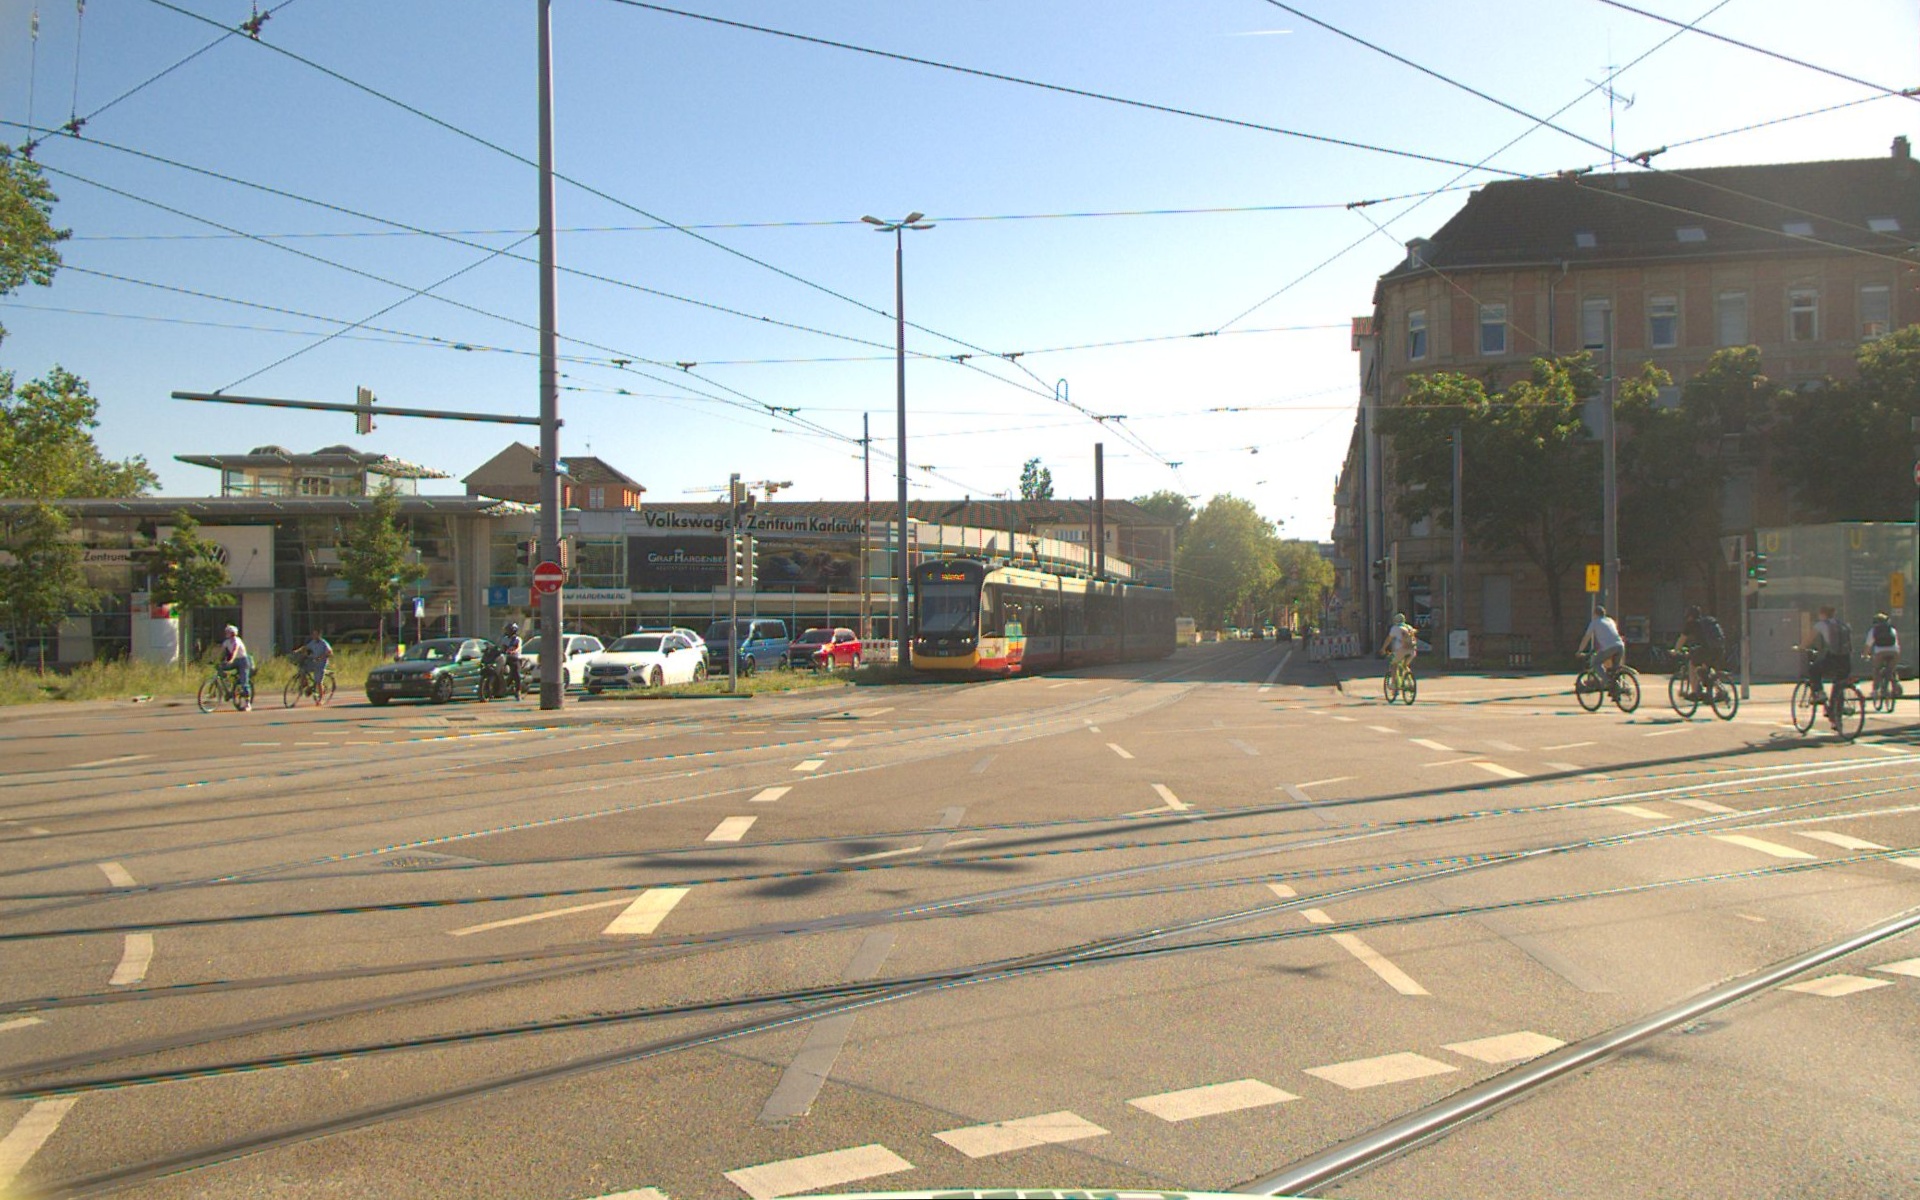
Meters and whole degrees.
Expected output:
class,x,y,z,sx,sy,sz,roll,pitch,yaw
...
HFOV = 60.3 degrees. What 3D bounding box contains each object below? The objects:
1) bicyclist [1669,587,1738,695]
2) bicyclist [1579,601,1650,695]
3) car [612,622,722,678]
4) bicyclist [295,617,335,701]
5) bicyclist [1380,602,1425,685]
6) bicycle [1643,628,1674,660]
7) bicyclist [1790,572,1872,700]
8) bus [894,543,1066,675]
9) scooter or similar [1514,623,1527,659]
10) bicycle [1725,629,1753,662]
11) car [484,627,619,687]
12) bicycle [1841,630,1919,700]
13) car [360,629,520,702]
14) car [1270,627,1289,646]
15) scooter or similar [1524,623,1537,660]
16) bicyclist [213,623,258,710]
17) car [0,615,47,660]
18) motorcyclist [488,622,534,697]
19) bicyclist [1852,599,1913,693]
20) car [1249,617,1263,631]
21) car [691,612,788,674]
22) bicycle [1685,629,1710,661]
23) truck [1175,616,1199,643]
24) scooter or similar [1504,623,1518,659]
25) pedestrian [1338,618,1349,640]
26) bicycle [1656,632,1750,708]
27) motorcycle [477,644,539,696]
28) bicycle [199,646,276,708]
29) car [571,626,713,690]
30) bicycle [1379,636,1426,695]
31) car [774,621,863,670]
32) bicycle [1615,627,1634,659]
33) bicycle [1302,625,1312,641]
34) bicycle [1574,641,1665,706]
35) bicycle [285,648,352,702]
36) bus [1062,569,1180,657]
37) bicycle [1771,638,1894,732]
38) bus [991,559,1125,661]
class,x,y,z,sx,sy,sz,roll,pitch,yaw
bicyclist,11.600,0.642,25.828,0.610,1.642,0.981,1,-1,0
bicyclist,11.535,0.833,29.162,0.769,1.621,0.882,0,-1,-15
car,-8.749,1.494,49.738,1.764,1.606,4.168,-1,-2,13
bicyclist,-14.062,1.279,36.058,0.562,1.773,0.602,1,1,13
bicyclist,9.378,0.915,35.060,0.667,1.713,1.120,1,-1,2
bicycle,23.568,1.480,55.807,0.395,1.080,1.351,1,-1,-3
bicyclist,11.473,0.471,21.812,0.539,1.642,0.952,1,-1,-3
bus,0.961,0.334,52.459,2.780,3.653,13.506,0,-1,12
scooter or similar,19.169,1.407,56.574,0.264,1.206,1.566,1,-1,13
bicycle,26.047,1.509,55.315,0.394,1.080,1.463,1,-1,6
car,-10.512,1.451,42.849,1.764,1.457,4.003,1,-1,13
bicycle,16.361,1.132,29.287,0.520,1.137,1.934,1,1,2
car,-11.547,1.430,36.972,1.614,1.505,3.974,-2,-1,13
car,36.320,4.134,187.753,1.951,2.049,4.003,1,-1,13
scooter or similar,19.484,1.413,56.496,0.264,1.217,1.566,1,-1,13
bicyclist,-15.088,1.377,34.454,0.562,1.773,0.678,1,0,13
car,-45.325,1.718,77.515,3.912,2.049,1.996,1,-1,-8
motorcyclist,-9.855,1.305,36.287,0.573,1.607,0.944,-1,-2,14
bicyclist,16.384,0.813,29.384,0.585,1.642,0.953,1,-1,3
car,40.596,3.304,226.643,1.721,1.727,4.147,1,-1,13
car,-7.305,1.438,55.197,1.764,1.967,4.168,-1,-2,14
bicycle,24.977,1.527,56.035,0.394,1.080,1.463,1,-1,8
truck,25.243,3.270,183.750,2.484,2.880,6.381,1,-1,8
scooter or similar,18.865,1.401,56.632,0.264,1.206,1.566,1,-1,13
pedestrian,28.994,2.215,125.108,0.781,1.633,0.653,-1,-2,14
bicycle,11.630,1.091,25.948,0.521,1.137,1.933,0,-2,-2
motorcycle,-9.891,1.516,36.280,0.507,1.065,1.748,-1,-1,14
bicycle,-15.063,1.602,34.526,0.526,1.204,1.755,-1,0,12
car,-7.854,1.426,41.291,1.764,1.457,4.544,1,-1,13
bicycle,9.361,1.372,35.044,0.520,1.137,1.934,1,1,2
car,-5.294,1.715,62.447,1.761,1.749,4.418,-2,-2,17
bicycle,22.522,1.459,56.082,0.394,1.080,1.353,1,-1,13
bicycle,25.263,2.411,120.428,0.666,1.134,2.709,1,-1,12
bicycle,11.580,1.272,29.103,0.380,1.087,1.925,-1,-1,-15
bicycle,-14.029,1.635,36.193,0.526,1.092,1.656,-1,0,12
bus,7.434,0.616,74.820,2.781,3.653,11.274,0,-1,19
bicycle,11.462,1.090,21.800,0.521,1.137,1.933,1,0,-3
bus,4.020,0.425,64.331,2.781,3.653,10.731,0,-1,17
